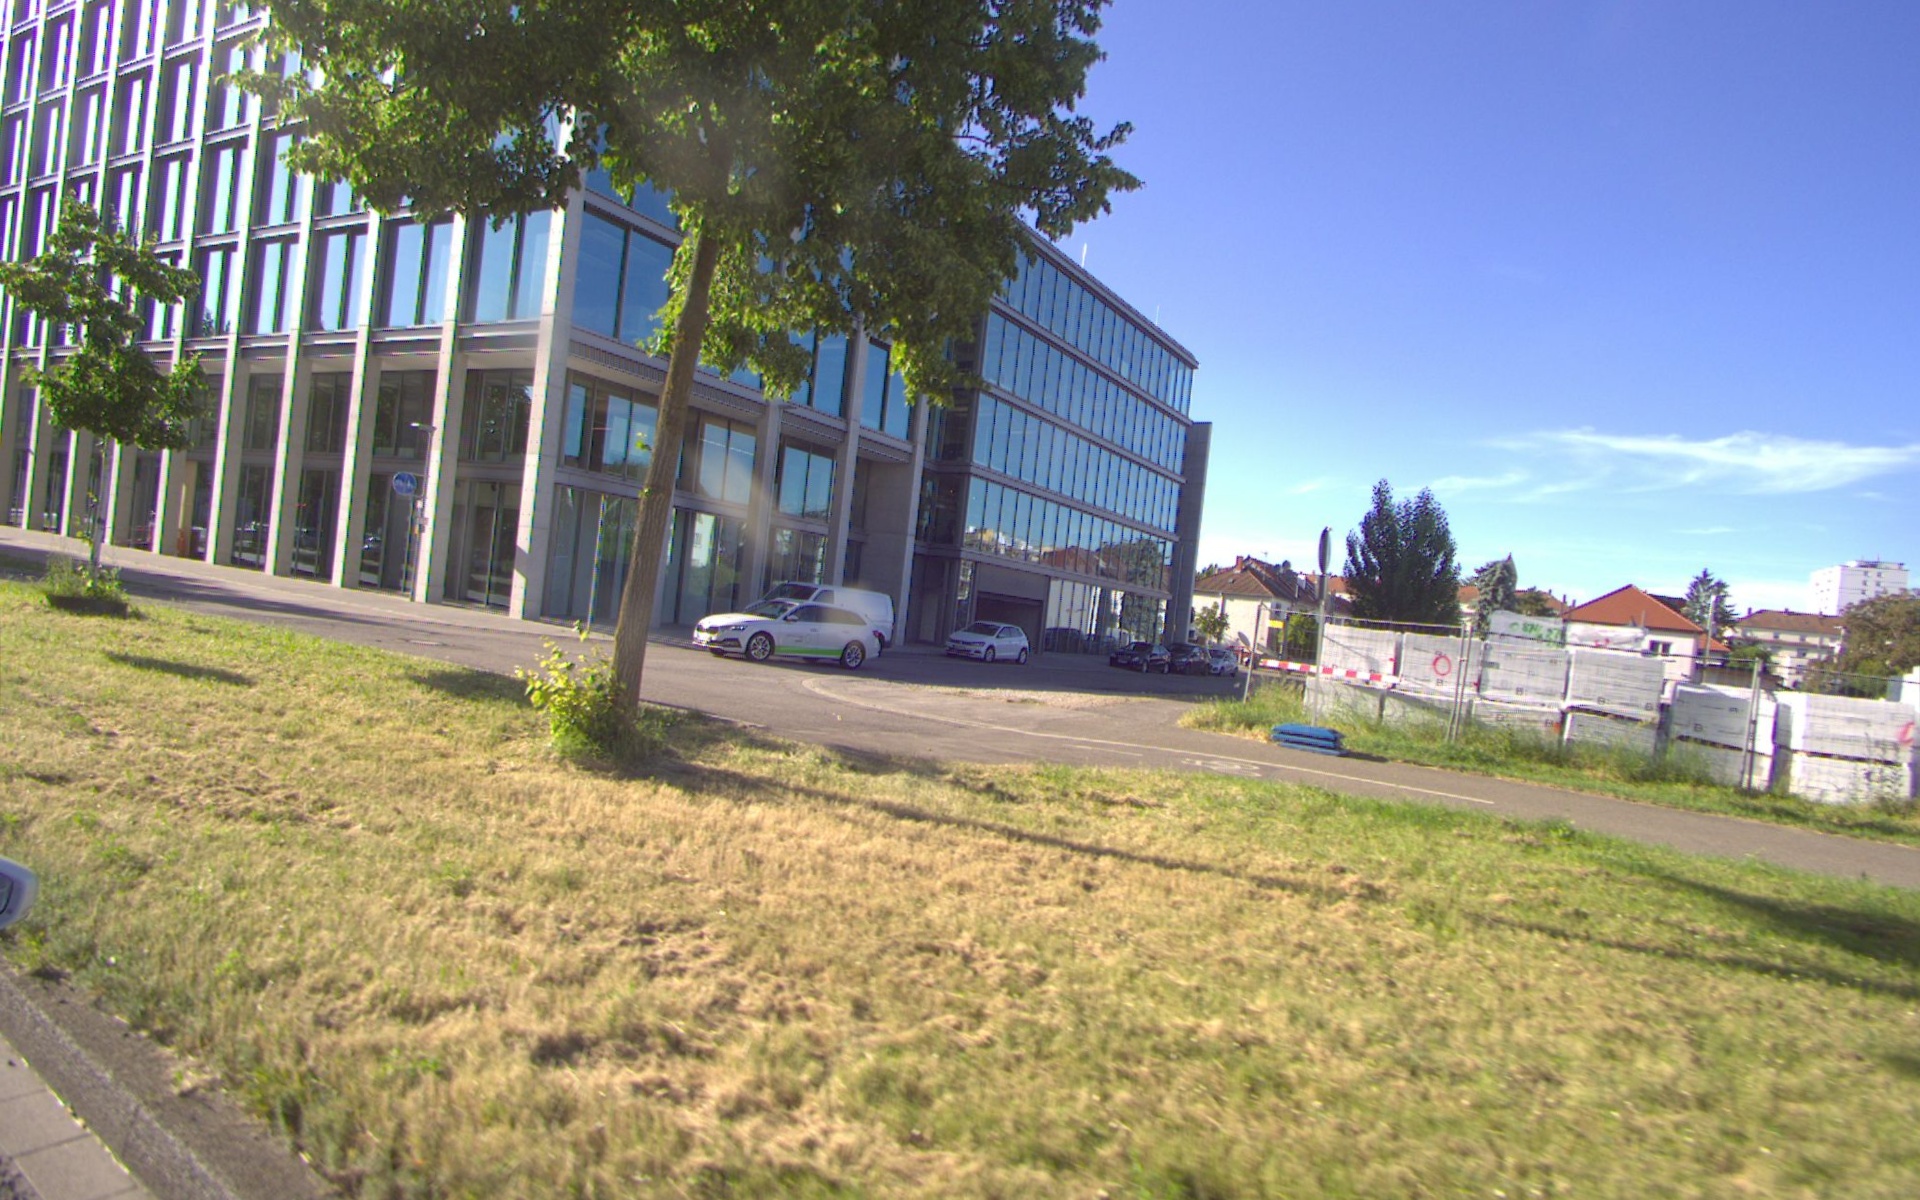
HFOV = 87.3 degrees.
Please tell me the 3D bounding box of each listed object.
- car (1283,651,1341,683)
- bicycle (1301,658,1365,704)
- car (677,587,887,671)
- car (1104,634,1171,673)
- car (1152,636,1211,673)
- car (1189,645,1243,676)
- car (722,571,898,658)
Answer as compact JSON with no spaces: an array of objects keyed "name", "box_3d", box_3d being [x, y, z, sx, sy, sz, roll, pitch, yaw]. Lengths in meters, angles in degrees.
[{"name":"car","box_3d":[27.373,5.211,78.206,3.930,2.038,1.998,5,-1,26]},{"name":"bicycle","box_3d":[11.825,2.558,31.910,1.719,1.206,0.583,7,1,34]},{"name":"car","box_3d":[-3.982,0.707,23.125,1.751,1.408,4.506,4,-4,43]},{"name":"car","box_3d":[8.519,2.562,48.049,1.720,1.570,3.839,5,-2,32]},{"name":"car","box_3d":[11.797,2.944,53.474,1.720,1.680,3.839,5,-2,32]},{"name":"car","box_3d":[14.654,3.469,57.476,1.720,1.500,3.838,7,0,32]},{"name":"car","box_3d":[-4.199,0.490,29.075,1.908,2.005,5.070,7,-1,34]}]
